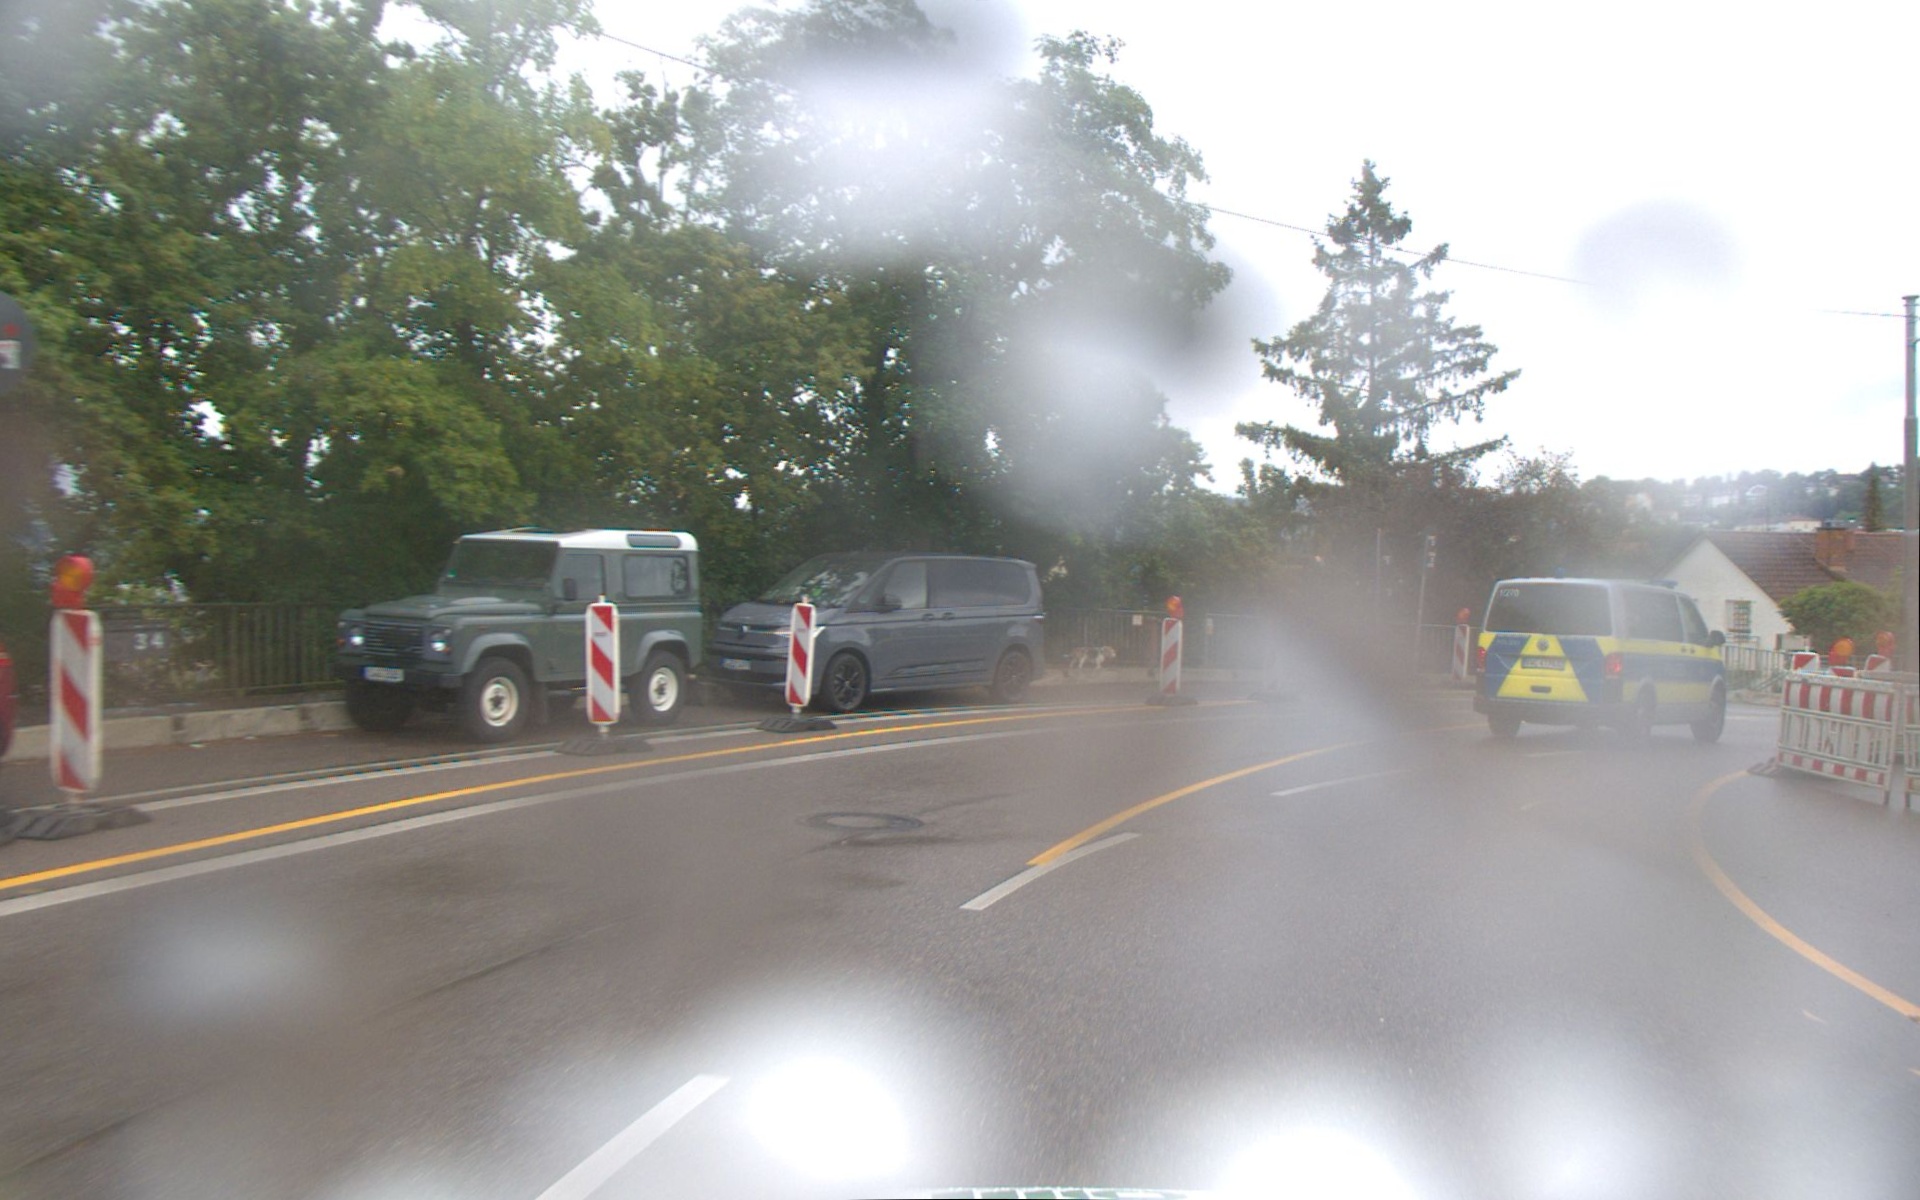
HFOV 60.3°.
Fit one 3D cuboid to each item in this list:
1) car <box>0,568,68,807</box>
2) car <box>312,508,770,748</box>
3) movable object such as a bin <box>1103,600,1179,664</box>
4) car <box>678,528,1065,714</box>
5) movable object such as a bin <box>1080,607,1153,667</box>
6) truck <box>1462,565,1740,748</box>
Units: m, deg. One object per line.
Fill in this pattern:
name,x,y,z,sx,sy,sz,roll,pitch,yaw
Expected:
car,-7.248,0.516,8.796,1.918,1.465,4.325,1,1,16
car,-4.045,0.222,16.909,1.829,2.048,4.809,2,1,26
movable object such as a bin,3.388,0.595,30.943,1.013,1.126,0.979,3,-1,-30
car,-0.989,0.270,21.065,1.965,2.048,4.918,3,1,42
movable object such as a bin,3.018,0.710,31.937,1.013,1.126,0.979,1,0,-30
truck,8.217,0.648,20.940,1.962,2.049,4.711,-1,-1,39
